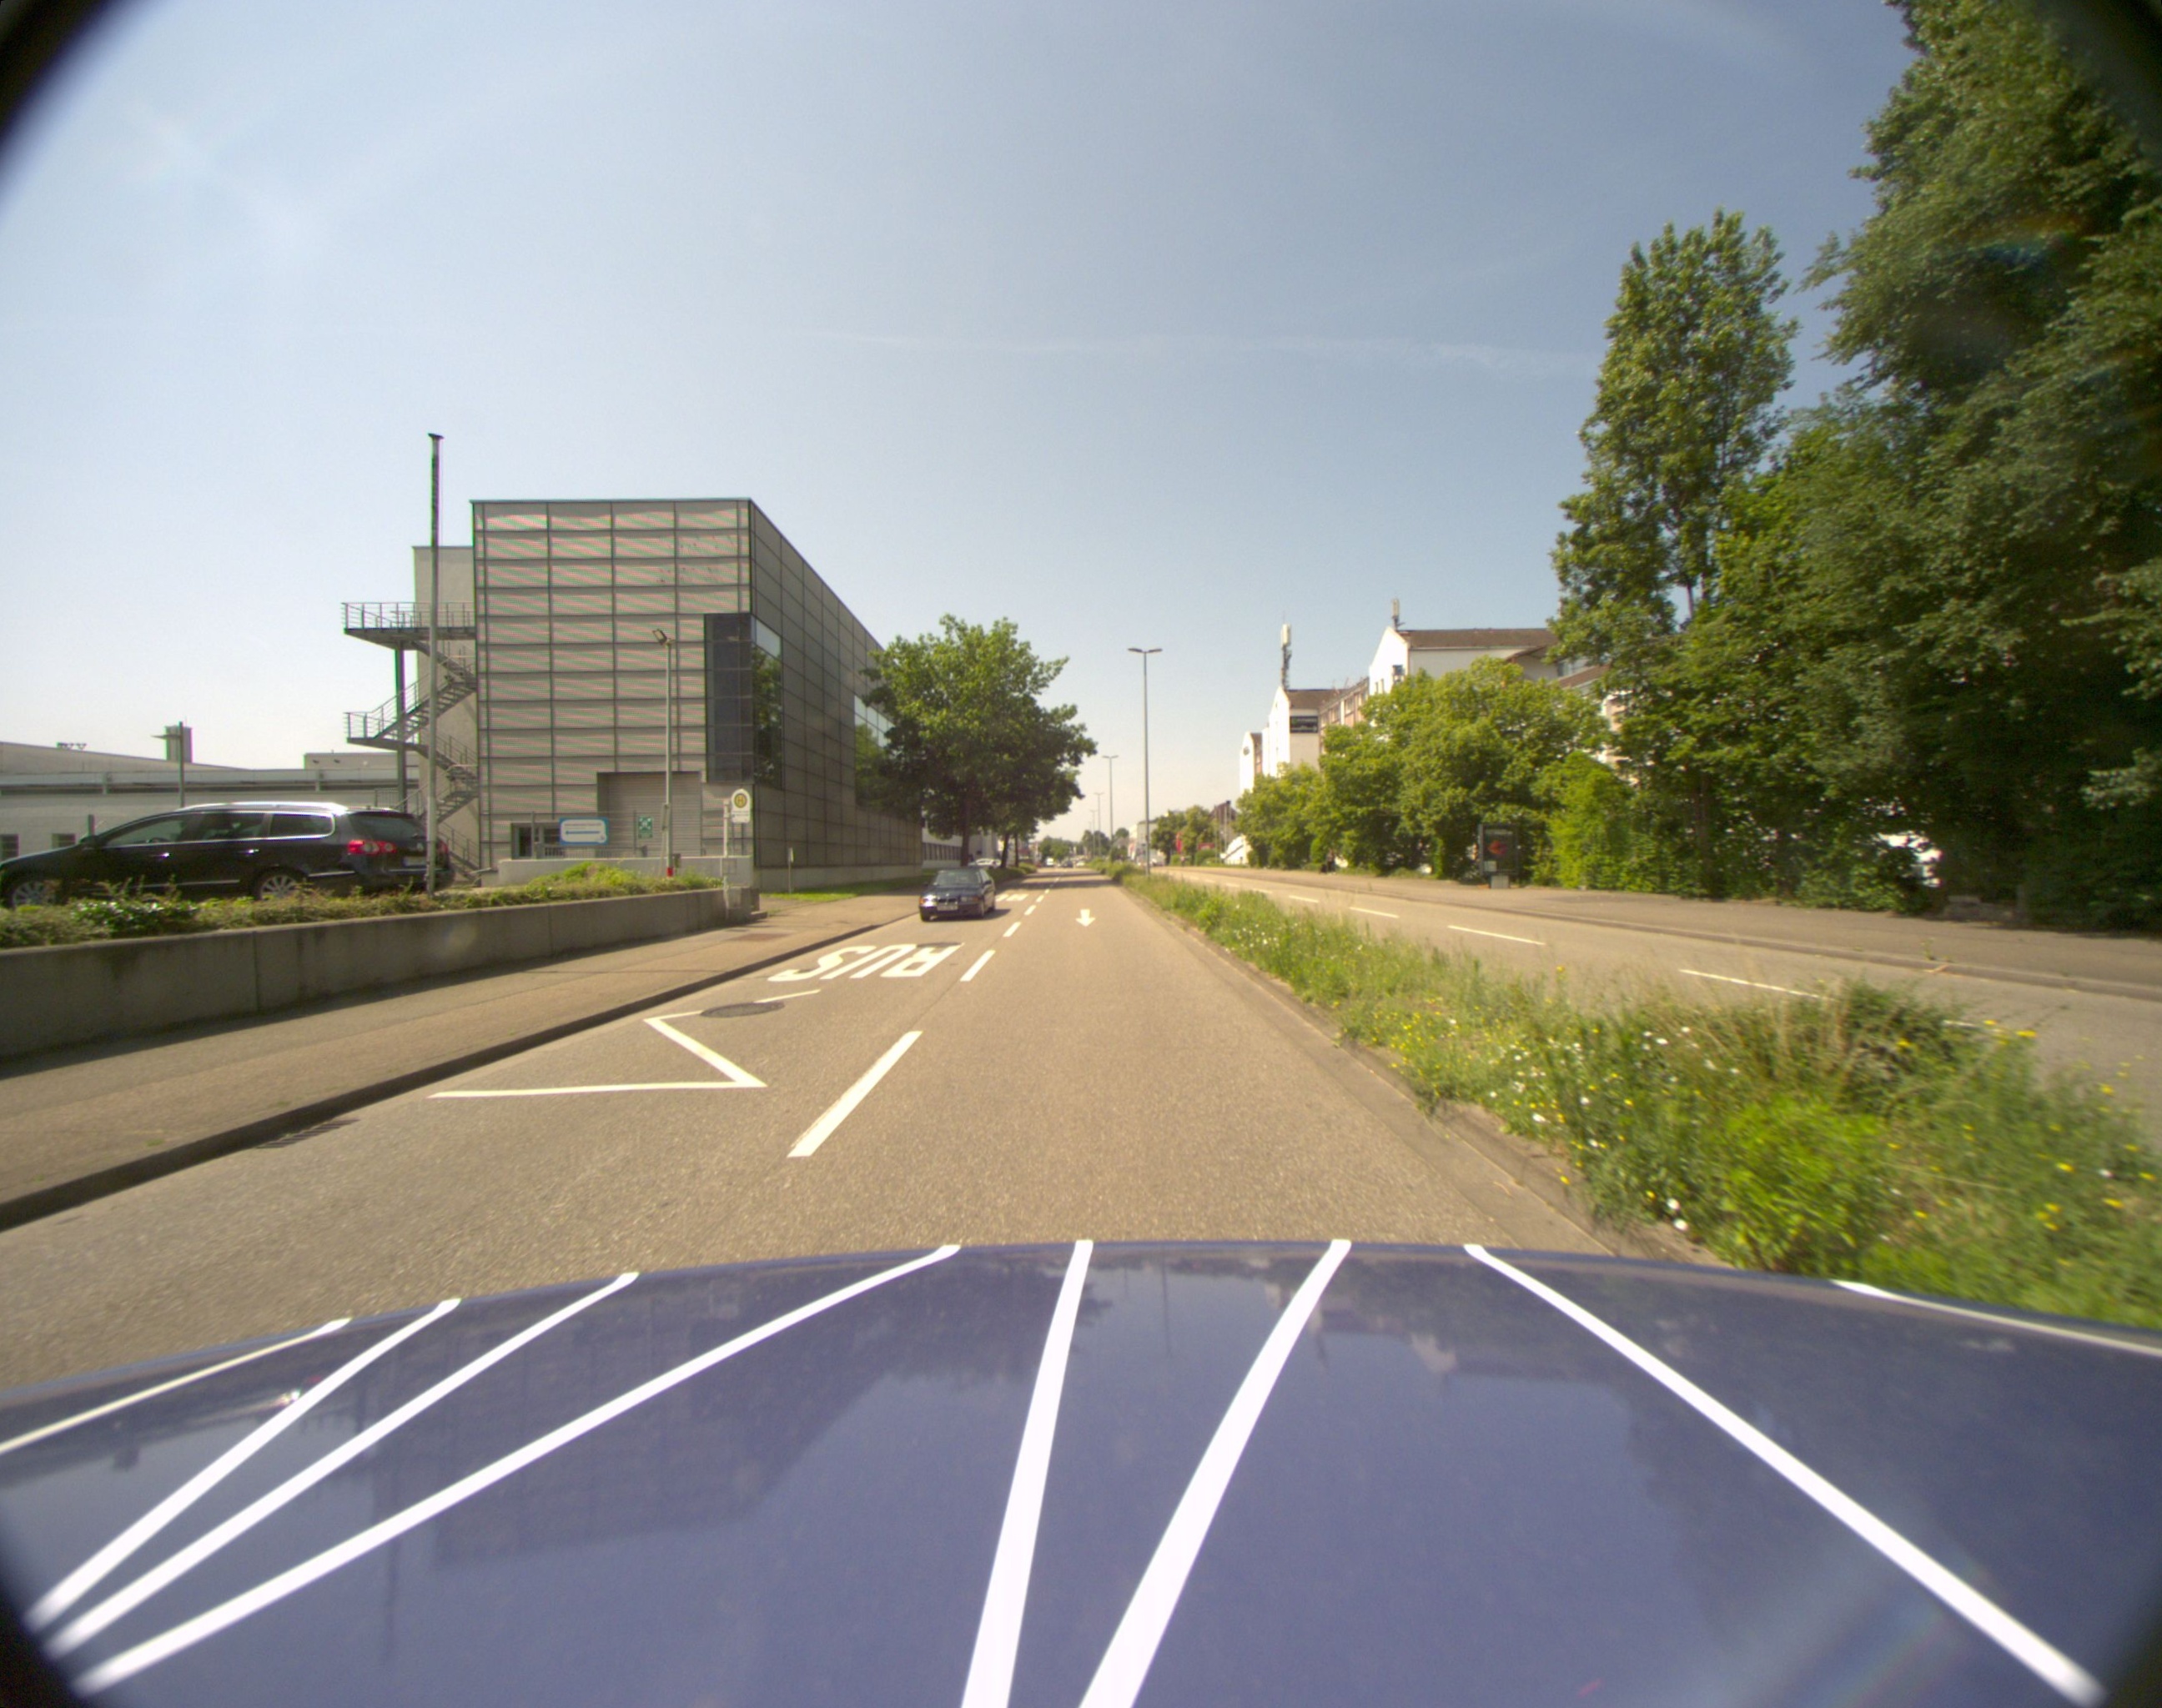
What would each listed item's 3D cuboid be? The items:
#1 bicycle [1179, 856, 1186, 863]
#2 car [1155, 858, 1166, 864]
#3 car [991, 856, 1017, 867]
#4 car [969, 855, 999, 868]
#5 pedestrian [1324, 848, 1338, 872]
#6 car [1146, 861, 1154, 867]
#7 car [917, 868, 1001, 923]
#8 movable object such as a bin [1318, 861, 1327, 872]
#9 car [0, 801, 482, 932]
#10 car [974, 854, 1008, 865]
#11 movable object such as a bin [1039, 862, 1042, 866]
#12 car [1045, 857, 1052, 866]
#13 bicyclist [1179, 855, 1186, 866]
[{"bbox_3d":[14.141,0.762,105.703,0.552,1.067,2.062,-2,0,-3],"label":"bicycle"},{"bbox_3d":[17.947,1.530,171.570,1.737,1.343,3.999,-1,-1,-3],"label":"car"},{"bbox_3d":[-12.582,1.234,124.276,4.271,1.679,1.999,0,0,-4],"label":"car"},{"bbox_3d":[-12.680,0.950,99.537,3.823,1.582,1.732,2,0,-4],"label":"car"},{"bbox_3d":[15.780,0.380,47.896,0.634,1.536,0.727,0,1,-1],"label":"pedestrian"},{"bbox_3d":[15.739,2.345,172.446,1.780,1.402,4.761,0,-1,5],"label":"car"},{"bbox_3d":[-3.318,1.091,21.237,1.632,1.331,3.757,-2,-1,1],"label":"car"},{"bbox_3d":[15.348,0.815,48.251,0.429,0.701,0.652,0,0,8],"label":"movable object such as a bin"},{"bbox_3d":[-11.201,0.145,10.251,4.512,1.573,1.999,0,0,-5],"label":"car"},{"bbox_3d":[-12.745,0.763,107.745,4.627,1.382,1.999,-1,0,-6],"label":"car"},{"bbox_3d":[-9.459,2.322,177.692,0.552,0.914,0.653,2,0,1],"label":"movable object such as a bin"},{"bbox_3d":[-10.662,2.480,250.225,2.183,2.757,7.278,1,-1,-1],"label":"car"},{"bbox_3d":[14.126,0.938,105.577,0.719,1.507,1.026,0,0,-4],"label":"bicyclist"}]
